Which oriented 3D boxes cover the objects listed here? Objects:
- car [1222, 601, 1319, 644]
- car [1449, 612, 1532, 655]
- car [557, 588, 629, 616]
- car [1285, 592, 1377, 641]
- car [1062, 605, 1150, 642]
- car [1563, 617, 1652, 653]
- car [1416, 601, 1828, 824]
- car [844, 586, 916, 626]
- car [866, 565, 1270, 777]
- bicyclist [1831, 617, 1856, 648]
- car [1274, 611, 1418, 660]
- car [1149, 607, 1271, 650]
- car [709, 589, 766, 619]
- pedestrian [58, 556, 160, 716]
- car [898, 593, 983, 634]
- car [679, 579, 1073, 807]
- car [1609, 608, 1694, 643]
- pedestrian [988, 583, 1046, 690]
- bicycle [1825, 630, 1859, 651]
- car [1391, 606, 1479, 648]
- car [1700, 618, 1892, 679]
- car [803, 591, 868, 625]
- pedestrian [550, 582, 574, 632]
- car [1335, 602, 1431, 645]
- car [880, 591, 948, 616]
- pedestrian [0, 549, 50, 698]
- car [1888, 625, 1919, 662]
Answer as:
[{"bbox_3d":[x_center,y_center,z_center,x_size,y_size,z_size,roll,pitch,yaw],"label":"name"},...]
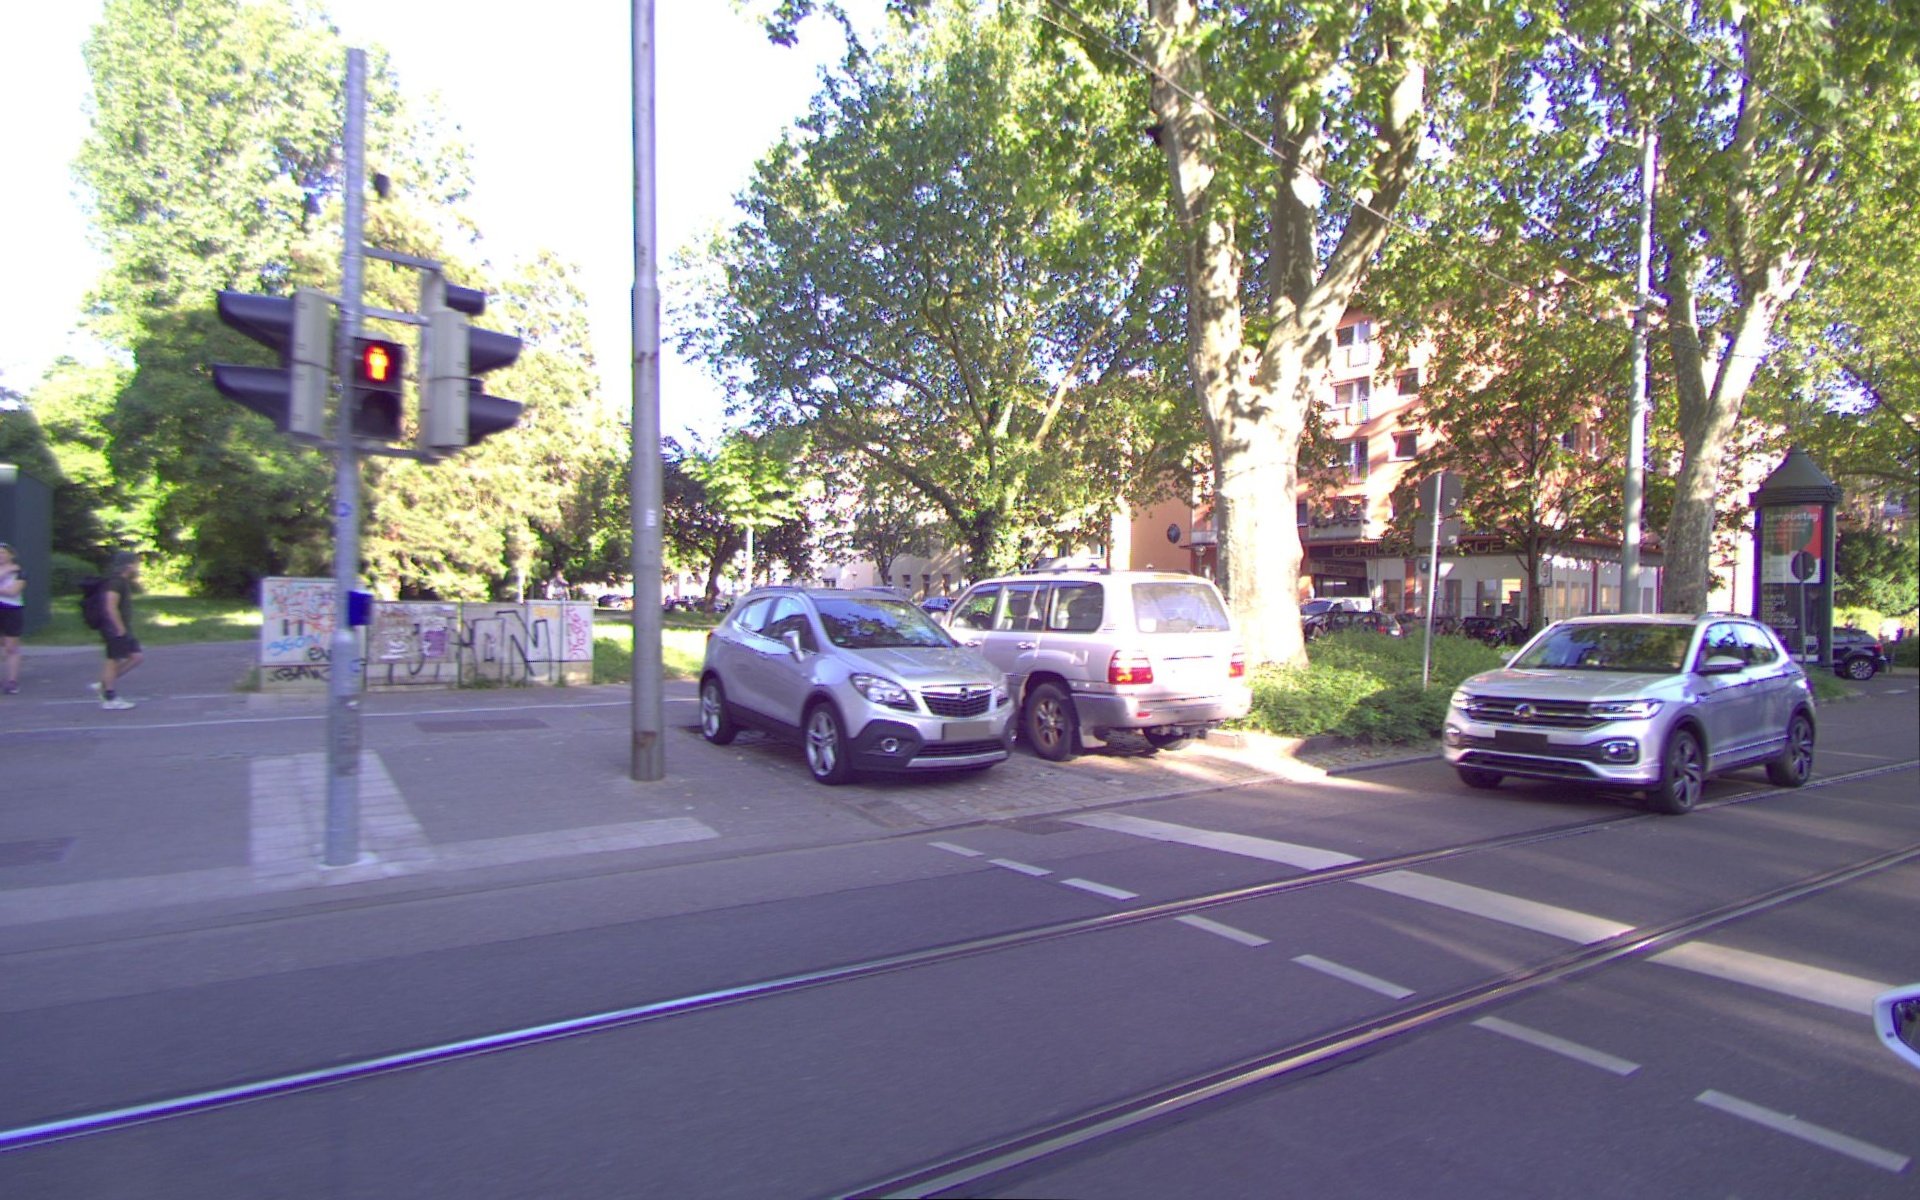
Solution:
[{"bbox_3d":[14.674,1.054,47.322,4.879,1.869,1.977,2,0,-40],"label":"car"},{"bbox_3d":[20.750,1.279,39.217,1.793,1.513,3.976,2,0,44],"label":"car"},{"bbox_3d":[-23.392,0.145,64.026,4.058,1.639,1.881,2,0,-31],"label":"car"},{"bbox_3d":[16.560,0.738,44.735,1.973,2.030,4.889,2,0,45],"label":"car"},{"bbox_3d":[6.438,1.014,44.543,1.675,1.469,3.676,1,0,-40],"label":"car"},{"bbox_3d":[28.161,1.510,43.642,3.854,1.426,1.935,2,0,-35],"label":"car"},{"bbox_3d":[6.098,0.866,9.115,4.076,1.589,1.803,2,-2,-36],"label":"car"},{"bbox_3d":[-4.848,0.340,60.088,2.025,2.227,4.692,1,1,-38],"label":"car"},{"bbox_3d":[0.953,0.596,11.247,1.920,1.858,4.538,1,0,-36],"label":"car"},{"bbox_3d":[44.263,1.624,50.333,1.109,1.527,0.792,1,1,-43],"label":"bicyclist"},{"bbox_3d":[13.749,1.226,35.975,1.846,1.509,4.487,1,0,-41],"label":"car"},{"bbox_3d":[9.930,1.107,40.118,1.811,1.469,4.425,1,0,-43],"label":"car"},{"bbox_3d":[-16.319,0.282,73.552,1.985,2.040,4.686,1,1,-42],"label":"car"},{"bbox_3d":[-9.401,0.384,11.127,0.772,1.695,0.705,1,1,-36],"label":"pedestrian"},{"bbox_3d":[-1.096,0.694,53.991,1.985,2.040,4.687,1,1,-41],"label":"car"},{"bbox_3d":[-1.023,0.677,9.675,1.884,1.668,4.109,1,0,-36],"label":"car"},{"bbox_3d":[31.747,1.165,46.098,3.961,1.507,1.935,2,0,-35],"label":"car"},{"bbox_3d":[0.998,0.629,17.585,0.743,1.834,0.641,1,1,-30],"label":"pedestrian"},{"bbox_3d":[44.134,2.005,50.252,2.564,1.012,0.959,2,0,-43],"label":"bicycle"},{"bbox_3d":[19.266,1.094,40.660,1.973,1.546,3.974,2,0,45],"label":"car"},{"bbox_3d":[23.808,1.339,28.718,1.729,1.468,3.953,1,1,-40],"label":"car"},{"bbox_3d":[-7.989,0.478,64.301,1.983,2.040,4.692,1,0,-38],"label":"car"},{"bbox_3d":[-13.722,0.238,34.670,0.701,1.695,0.776,2,1,-19],"label":"pedestrian"},{"bbox_3d":[17.868,0.987,42.347,4.523,1.639,1.975,2,0,-42],"label":"car"},{"bbox_3d":[-3.145,0.250,69.024,4.452,1.639,1.926,2,0,-43],"label":"car"},{"bbox_3d":[-11.288,0.270,11.894,0.523,1.728,0.592,2,1,26],"label":"pedestrian"},{"bbox_3d":[40.422,1.826,41.020,1.679,1.484,3.399,2,0,-33],"label":"car"}]
